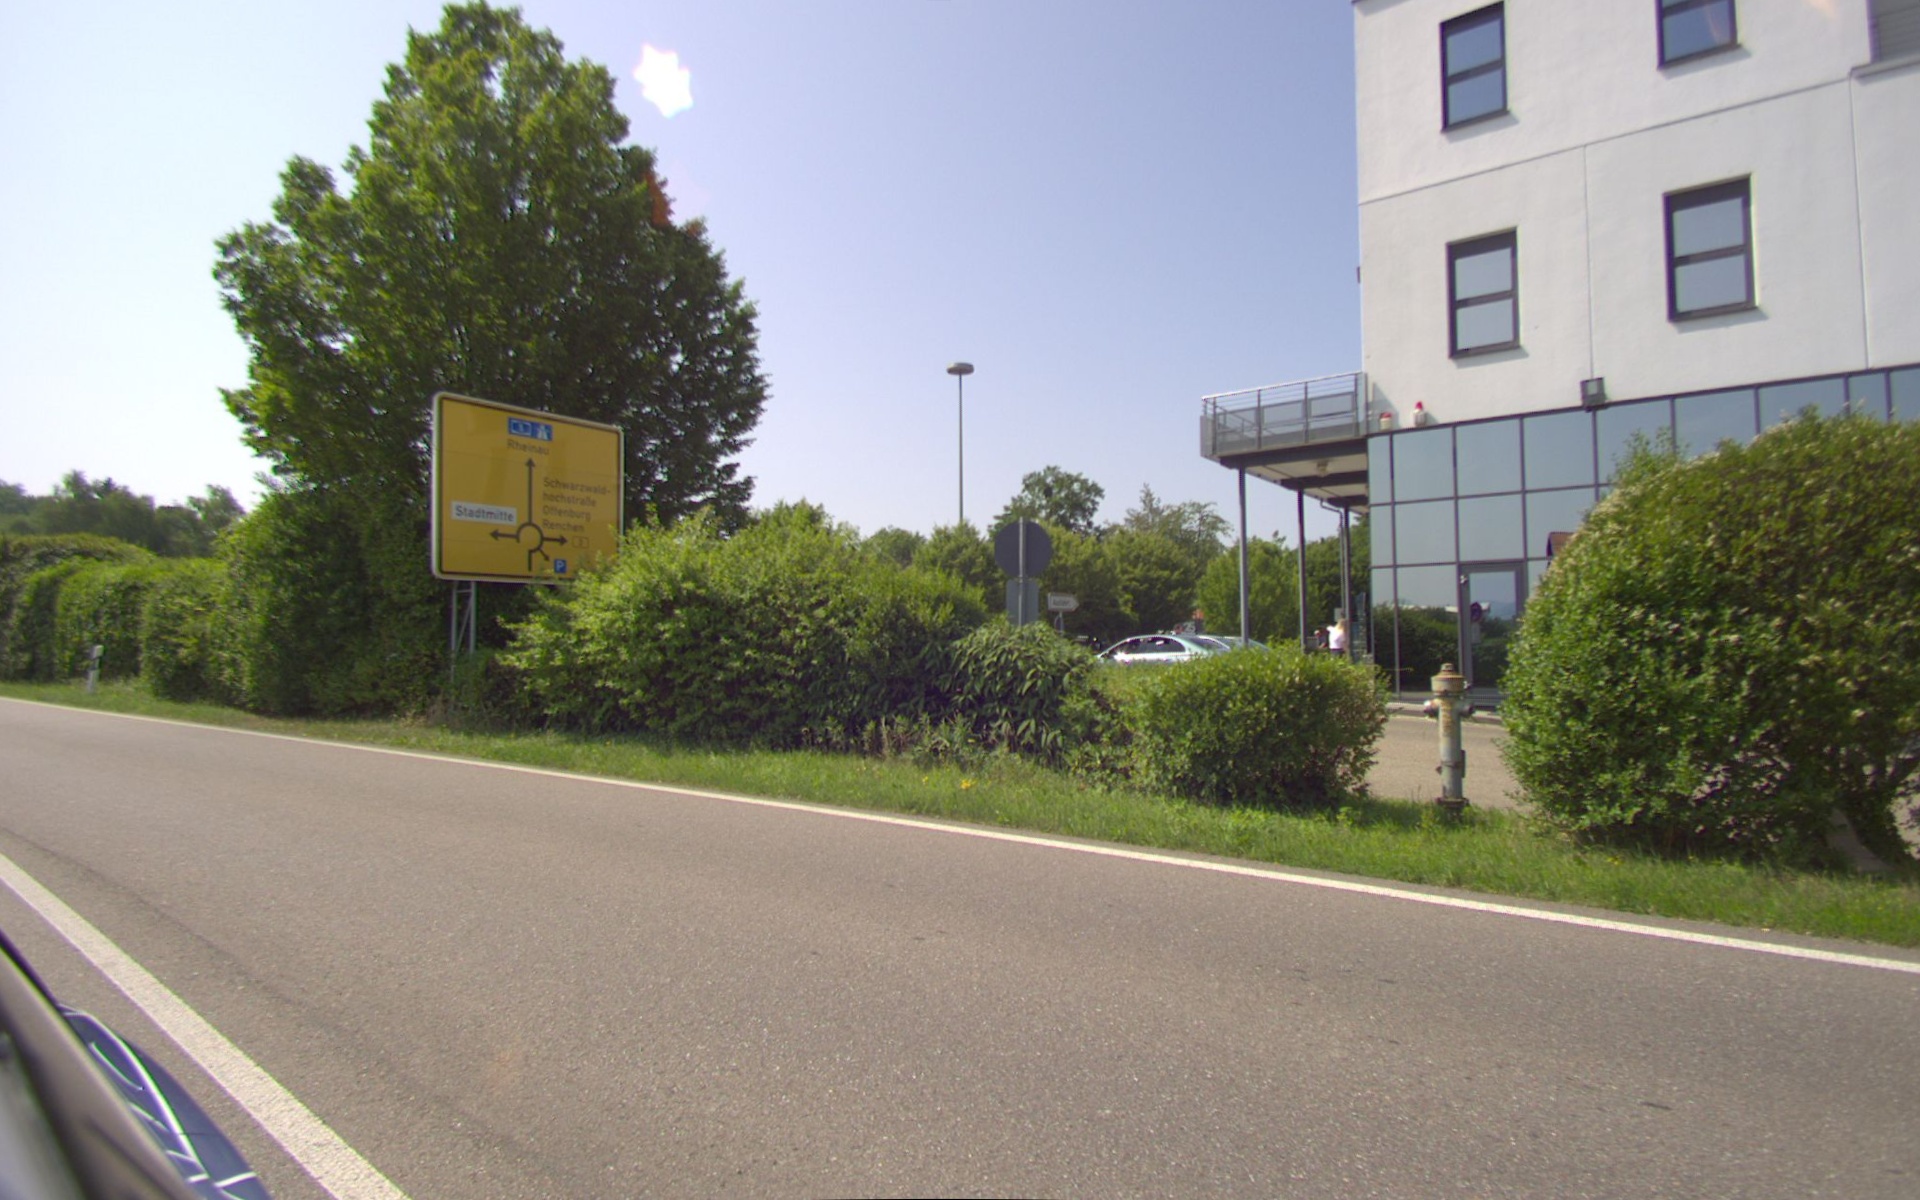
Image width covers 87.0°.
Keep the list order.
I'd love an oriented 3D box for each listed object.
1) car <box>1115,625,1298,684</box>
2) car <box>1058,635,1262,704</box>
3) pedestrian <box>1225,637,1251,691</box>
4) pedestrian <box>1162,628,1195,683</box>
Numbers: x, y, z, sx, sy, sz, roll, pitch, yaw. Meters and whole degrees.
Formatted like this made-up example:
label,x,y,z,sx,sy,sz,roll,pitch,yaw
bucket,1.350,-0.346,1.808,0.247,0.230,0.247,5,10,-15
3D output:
label,x,y,z,sx,sy,sz,roll,pitch,yaw
car,6.398,1.374,26.513,4.376,1.406,1.687,-1,-1,37
car,4.593,1.547,23.539,4.376,1.406,1.687,-1,-1,37
pedestrian,7.817,1.784,28.439,0.638,1.462,0.633,-1,-1,23
pedestrian,5.996,1.503,27.775,0.700,1.462,0.630,-1,-2,39
